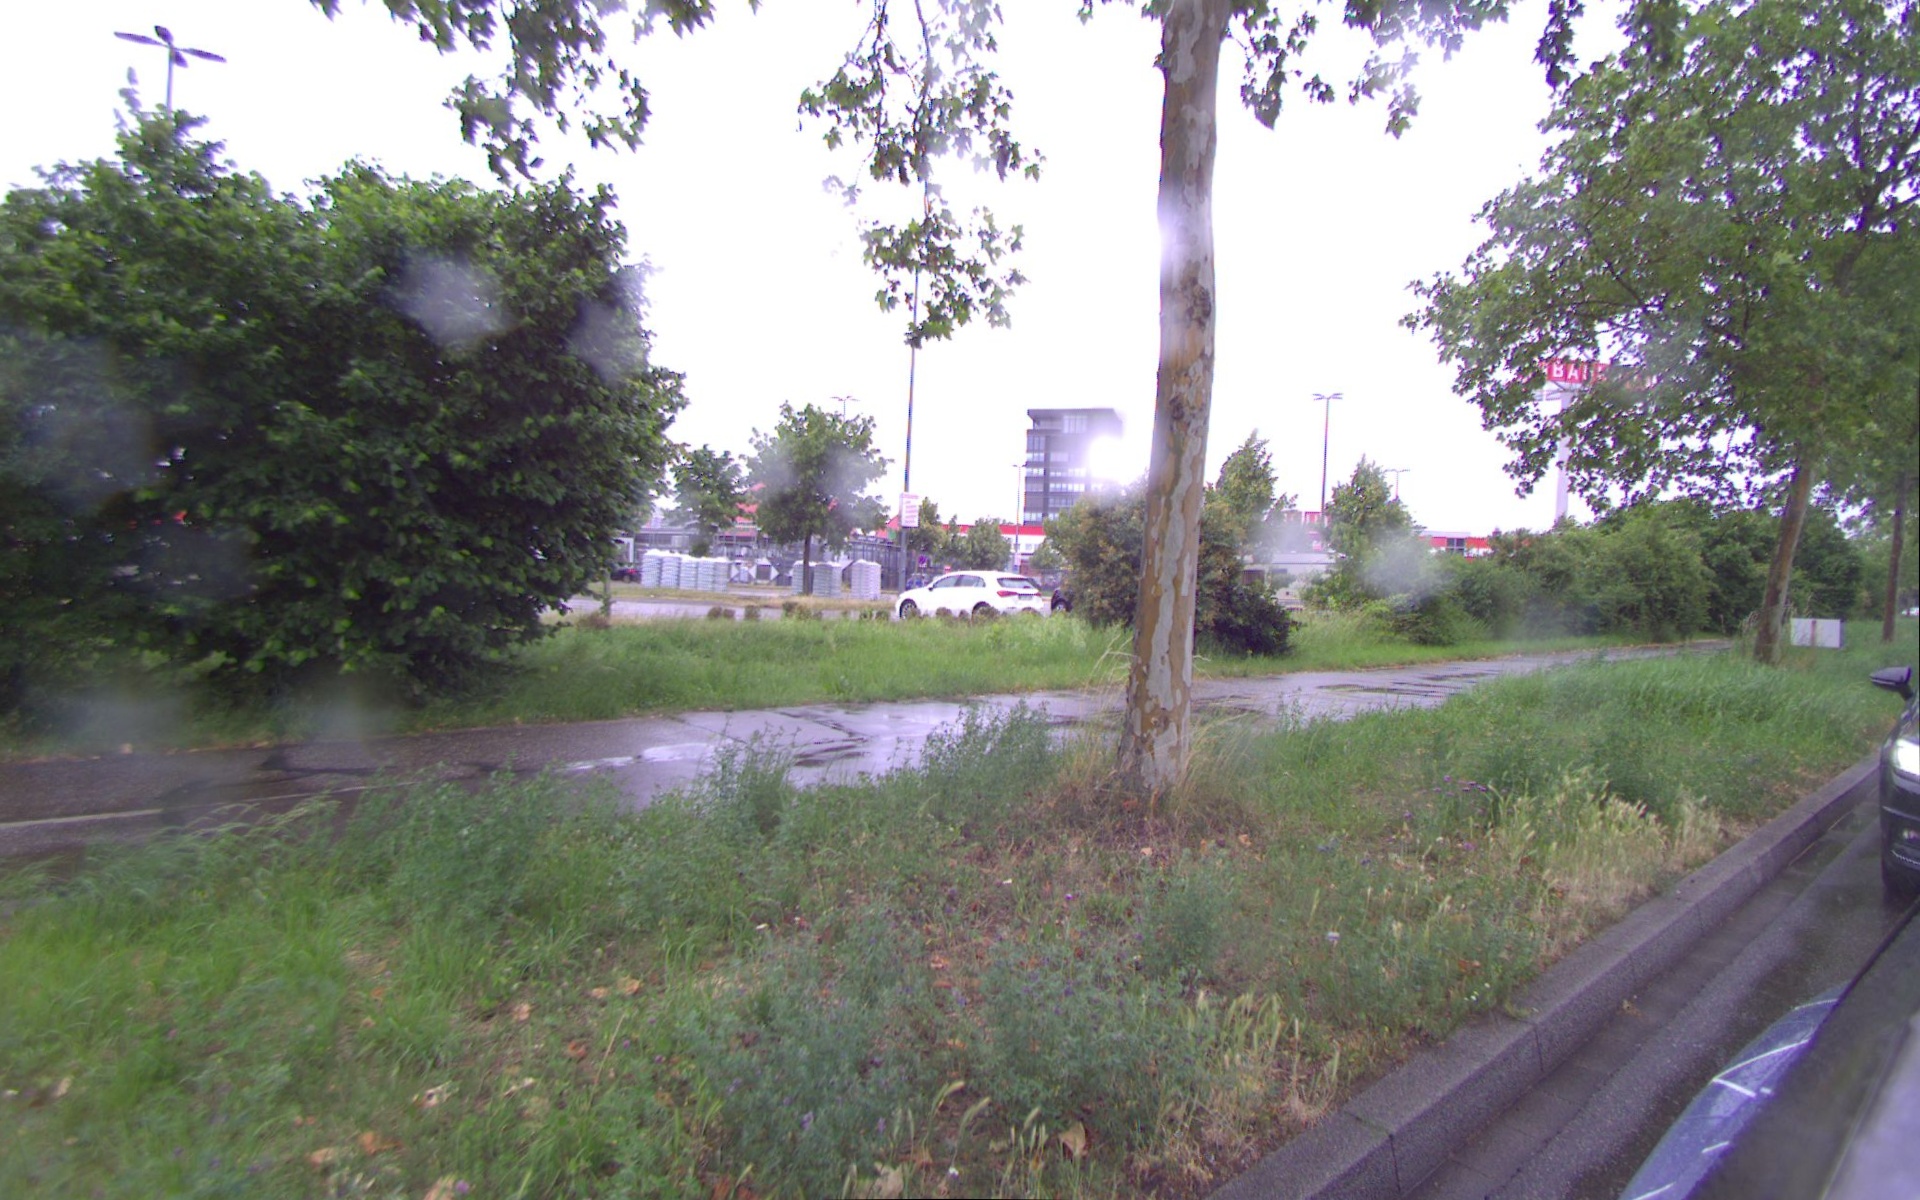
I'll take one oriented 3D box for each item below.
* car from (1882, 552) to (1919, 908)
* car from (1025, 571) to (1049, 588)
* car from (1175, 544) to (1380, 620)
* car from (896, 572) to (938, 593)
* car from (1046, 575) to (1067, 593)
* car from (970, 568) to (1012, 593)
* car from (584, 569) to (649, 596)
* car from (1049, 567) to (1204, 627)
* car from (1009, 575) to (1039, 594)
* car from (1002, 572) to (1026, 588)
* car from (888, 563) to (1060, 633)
[{"bbox_3d":[6.557,0.591,5.616,4.548,1.625,1.768,0,0,-43],"label":"car"},{"bbox_3d":[8.502,-2.284,111.900,1.973,1.697,4.257,2,2,13],"label":"car"},{"bbox_3d":[10.953,-0.693,35.285,6.399,2.392,2.357,3,2,41],"label":"car"},{"bbox_3d":[-3.308,-1.401,79.181,1.905,1.571,4.249,2,2,18],"label":"car"},{"bbox_3d":[9.510,-1.616,99.847,1.967,1.697,4.269,2,2,5],"label":"car"},{"bbox_3d":[2.131,-1.351,67.962,1.903,1.571,4.254,2,2,15],"label":"car"},{"bbox_3d":[-22.407,-1.147,66.081,3.723,1.739,1.685,0,0,13],"label":"car"},{"bbox_3d":[4.928,-0.142,30.296,1.899,1.571,4.262,0,3,-45],"label":"car"},{"bbox_3d":[6.032,-1.446,94.724,1.973,1.697,4.255,2,2,14],"label":"car"},{"bbox_3d":[6.007,-2.277,112.500,1.973,1.697,4.257,2,2,13],"label":"car"},{"bbox_3d":[0.287,-0.101,25.941,1.899,1.571,4.262,0,3,-45],"label":"car"}]
